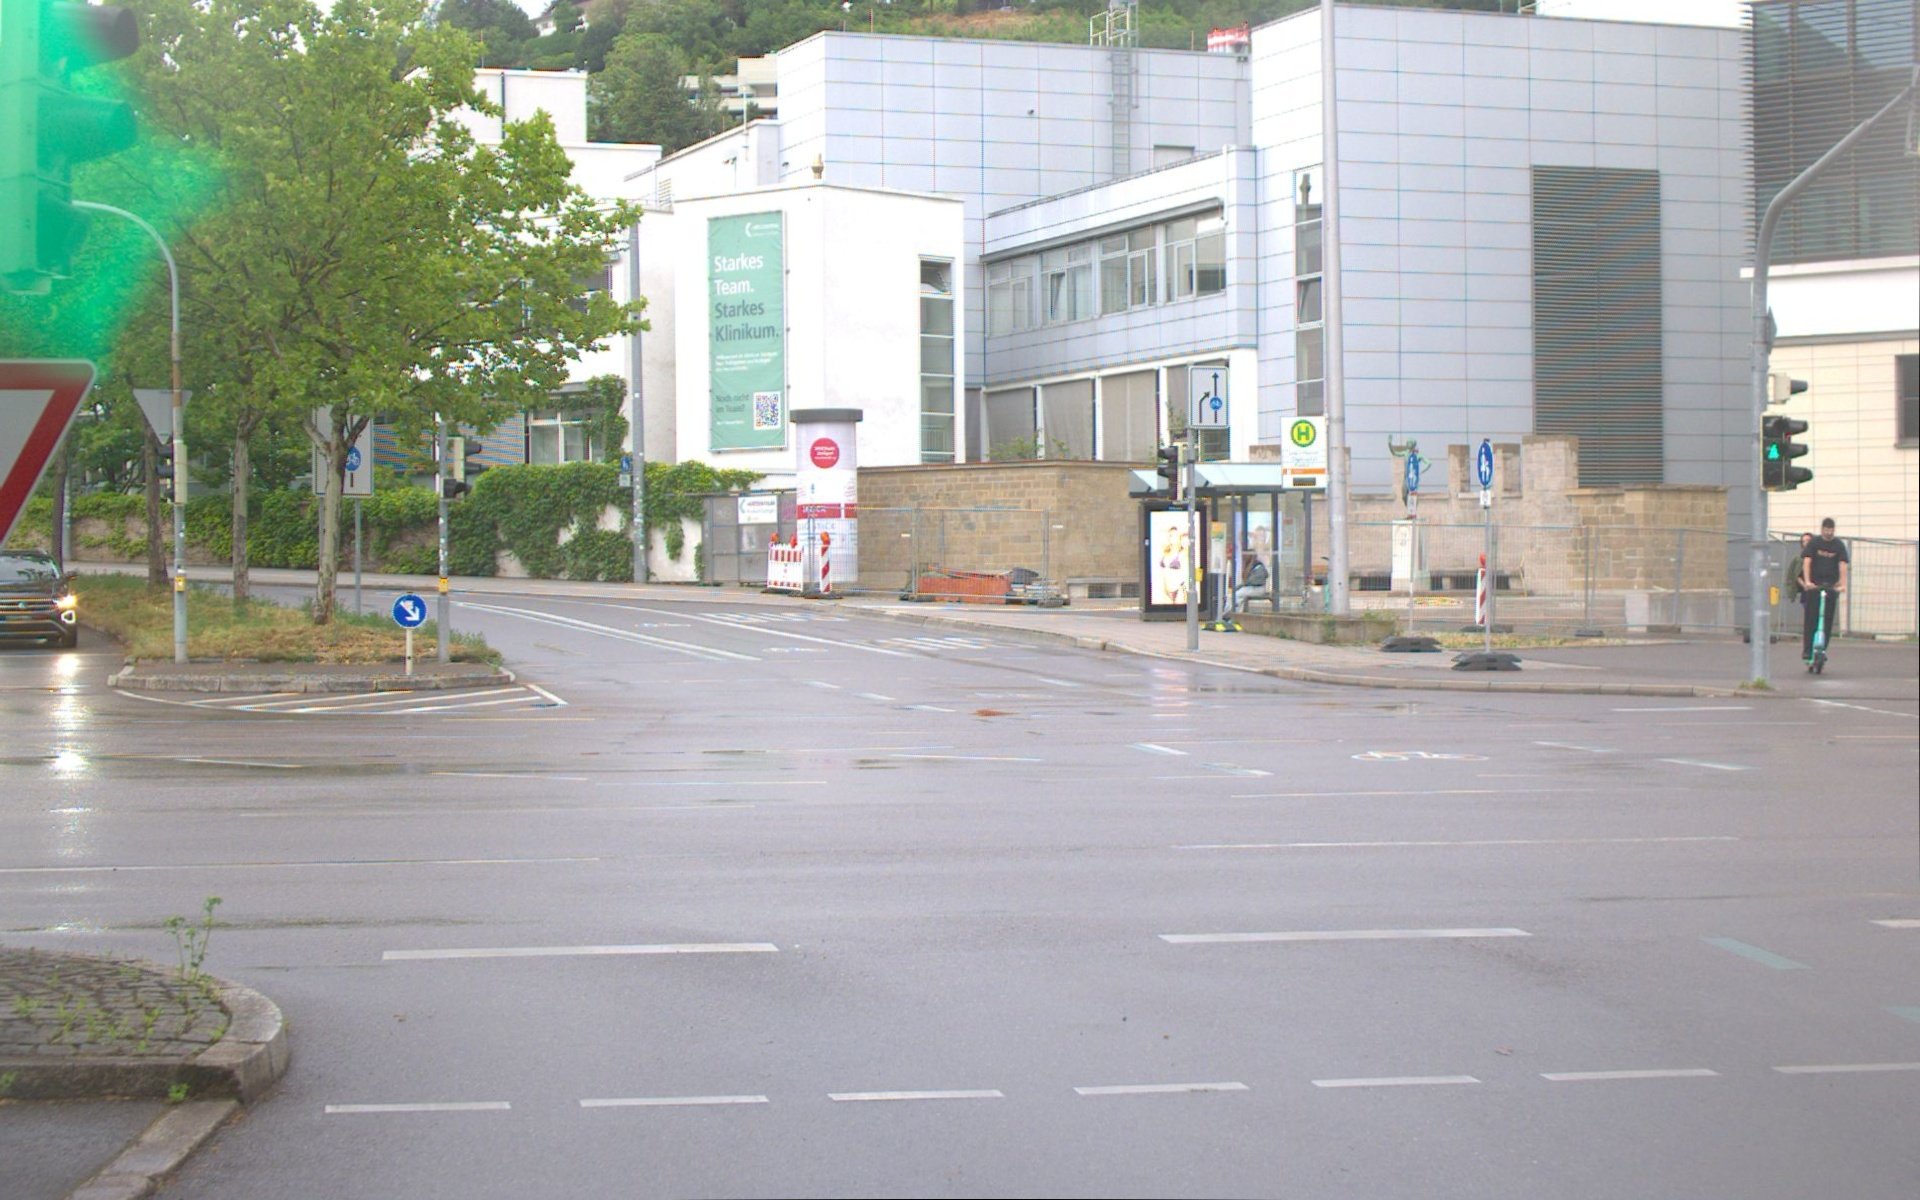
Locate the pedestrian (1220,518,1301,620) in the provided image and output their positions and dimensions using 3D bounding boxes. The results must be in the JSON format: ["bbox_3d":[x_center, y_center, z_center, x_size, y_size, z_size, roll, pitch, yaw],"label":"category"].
[{"bbox_3d":[5.196,-0.529,59.501,1.257,1.713,1.016,1,-1,-2],"label":"pedestrian"}]

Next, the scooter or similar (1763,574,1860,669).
[{"bbox_3d":[11.411,0.288,46.083,0.591,1.234,1.314,2,-1,-21],"label":"scooter or similar"}]

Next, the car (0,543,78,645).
[{"bbox_3d":[-15.513,-0.124,55.816,1.788,1.579,4.001,0,1,-22],"label":"car"}]

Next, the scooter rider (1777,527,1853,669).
[{"bbox_3d":[11.453,-0.027,46.066,0.723,1.877,0.632,2,-1,-20],"label":"scooter rider"}]
